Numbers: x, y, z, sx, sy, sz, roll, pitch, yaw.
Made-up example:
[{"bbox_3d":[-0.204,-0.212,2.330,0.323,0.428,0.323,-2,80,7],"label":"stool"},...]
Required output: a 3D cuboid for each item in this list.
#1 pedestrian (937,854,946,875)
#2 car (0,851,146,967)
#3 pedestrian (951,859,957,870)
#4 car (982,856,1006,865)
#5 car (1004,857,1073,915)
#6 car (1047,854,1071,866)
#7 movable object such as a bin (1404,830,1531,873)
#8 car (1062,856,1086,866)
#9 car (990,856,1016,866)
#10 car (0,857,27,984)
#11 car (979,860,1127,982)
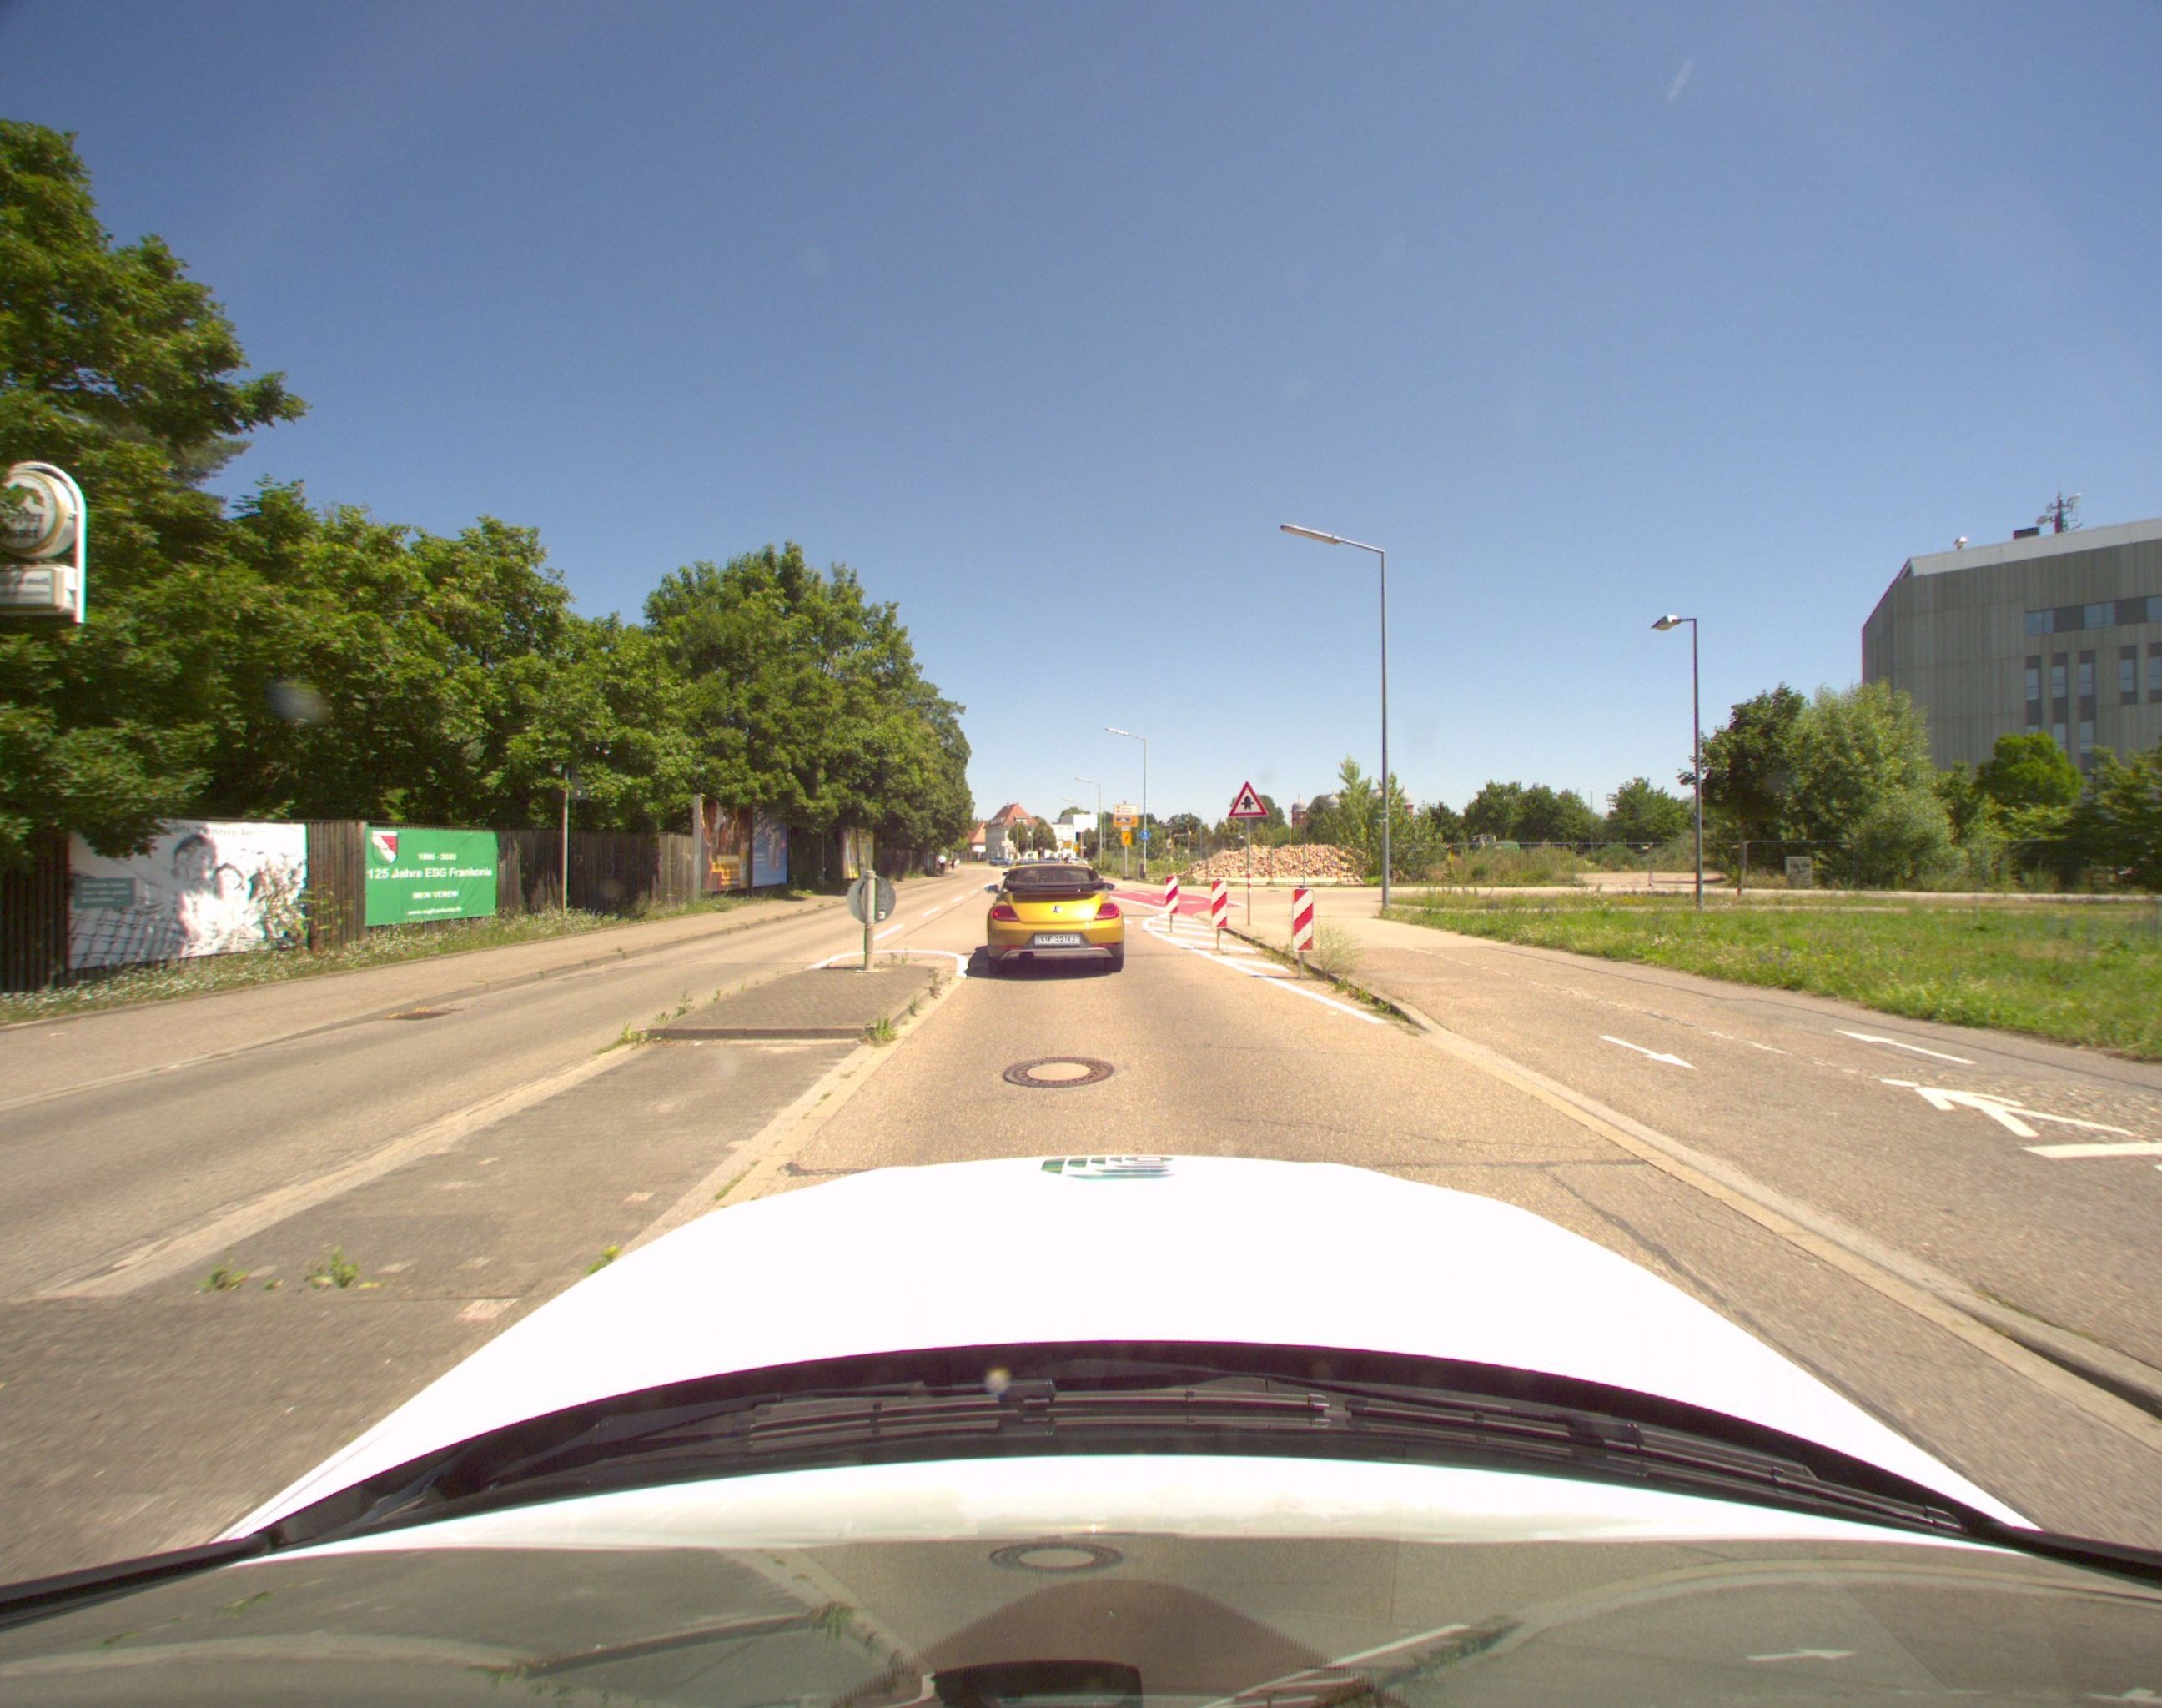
[{"bbox_3d":[-11.864,0.895,69.465,0.722,1.725,0.816,-1,-1,-8],"label":"pedestrian"},{"bbox_3d":[-20.233,0.982,14.808,4.293,1.977,1.782,-1,0,-1],"label":"car"},{"bbox_3d":[-16.804,1.376,107.850,0.722,1.454,0.816,-1,-1,-8],"label":"pedestrian"},{"bbox_3d":[-15.681,1.209,146.145,3.970,1.553,1.994,1,0,3],"label":"car"},{"bbox_3d":[-1.199,0.819,22.633,1.723,1.443,3.995,-1,0,-3],"label":"car"},{"bbox_3d":[-3.830,1.058,140.740,3.969,2.014,2.002,-1,0,4],"label":"car"},{"bbox_3d":[31.743,-0.154,67.750,4.932,3.260,10.449,-1,0,-5],"label":"movable object such as a bin"},{"bbox_3d":[-1.222,1.310,145.440,3.970,1.679,2.262,-1,0,3],"label":"car"},{"bbox_3d":[-13.232,1.181,138.451,3.966,1.613,1.794,-1,0,6],"label":"car"},{"bbox_3d":[-18.148,1.000,11.273,4.800,1.840,2.002,-1,0,4],"label":"car"},{"bbox_3d":[-0.412,0.832,11.852,1.785,1.436,3.810,-1,0,-2],"label":"car"}]
